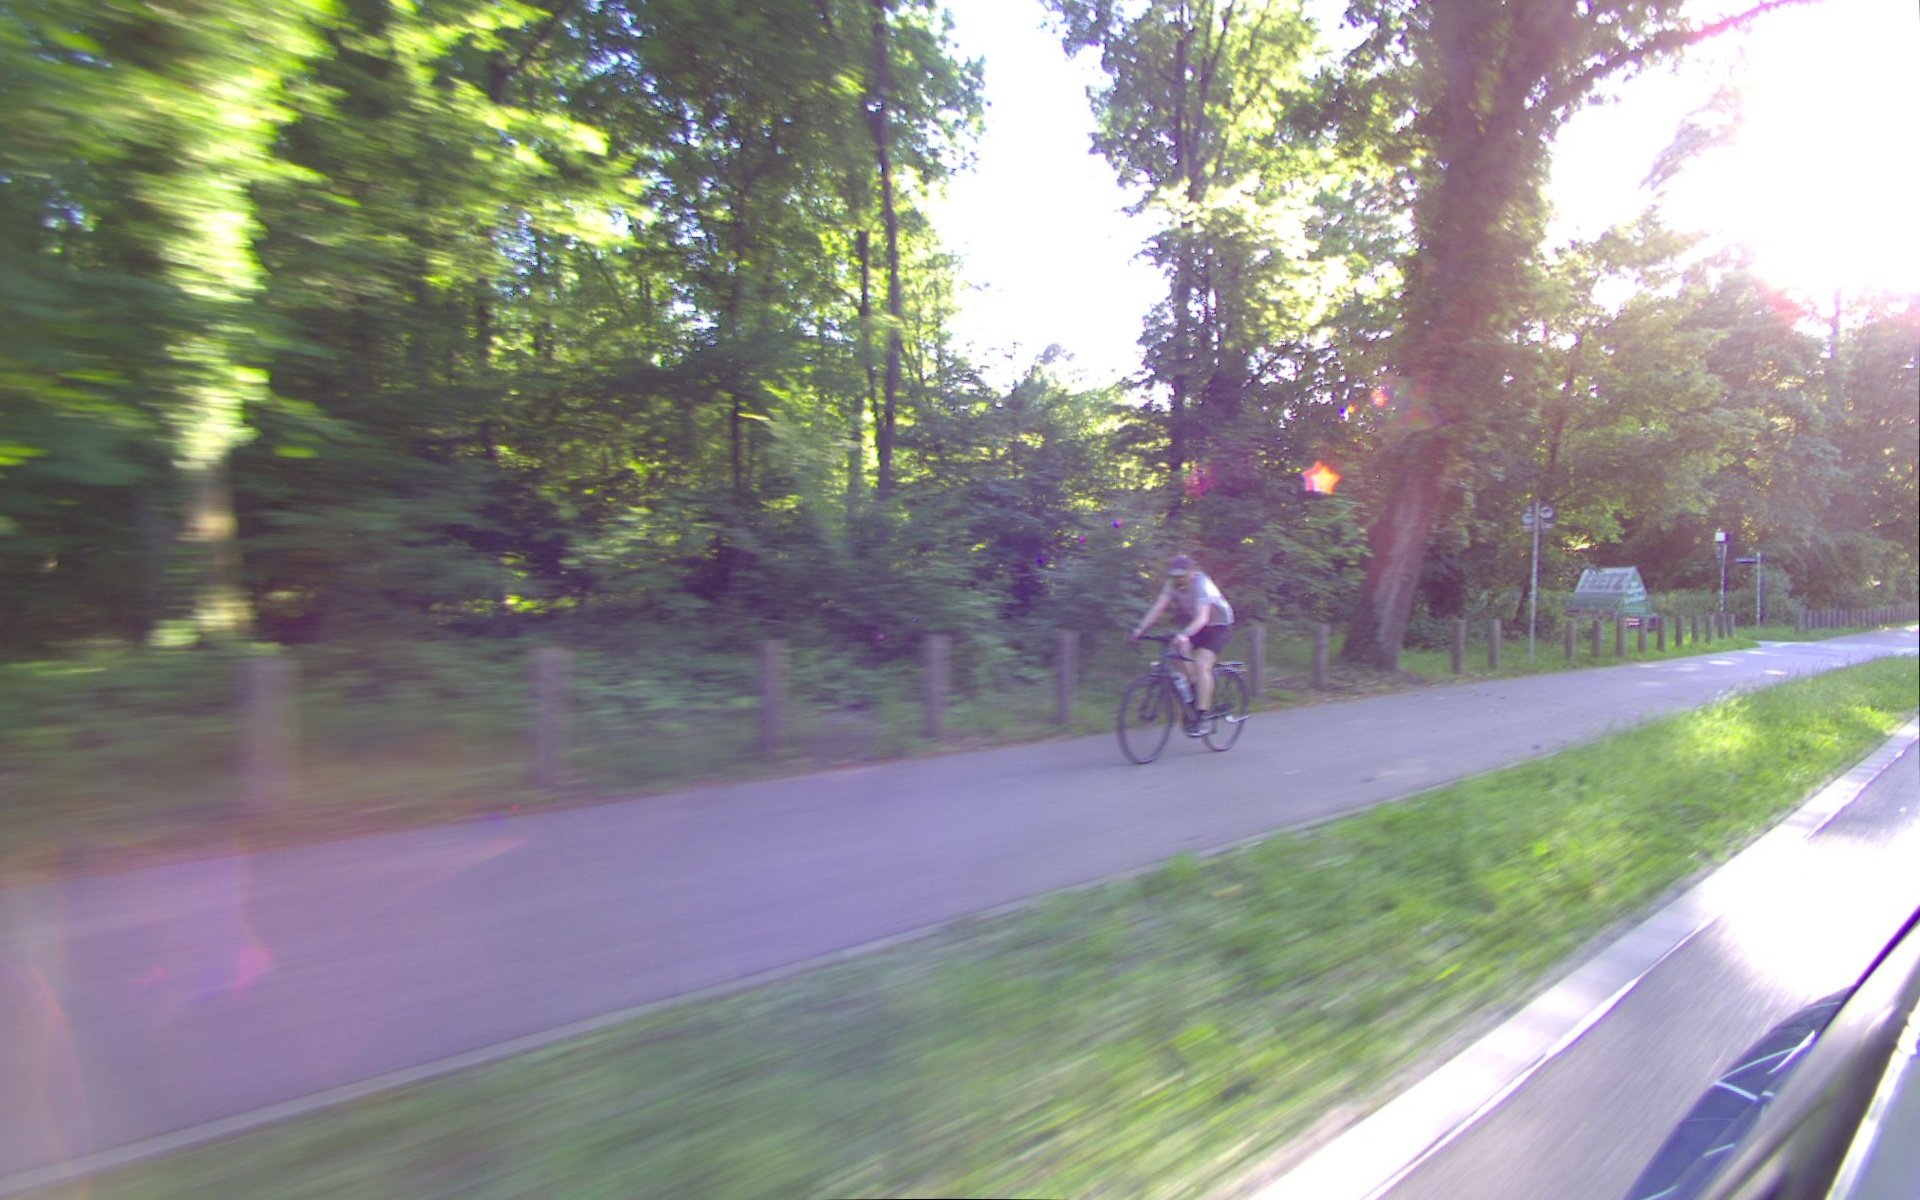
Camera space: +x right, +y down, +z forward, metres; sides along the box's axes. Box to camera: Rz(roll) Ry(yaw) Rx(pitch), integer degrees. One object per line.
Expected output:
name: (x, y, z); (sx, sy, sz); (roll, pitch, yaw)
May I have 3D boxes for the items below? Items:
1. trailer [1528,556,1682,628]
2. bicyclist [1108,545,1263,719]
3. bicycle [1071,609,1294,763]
trailer: (19.911, -0.309, 31.487); (1.962, 2.046, 4.229); (1, 2, -1)
bicyclist: (1.833, 0.227, 8.215); (1.085, 1.305, 0.713); (0, 1, -41)
bicycle: (1.852, 0.627, 8.236); (2.017, 1.069, 0.713); (0, 1, -41)
